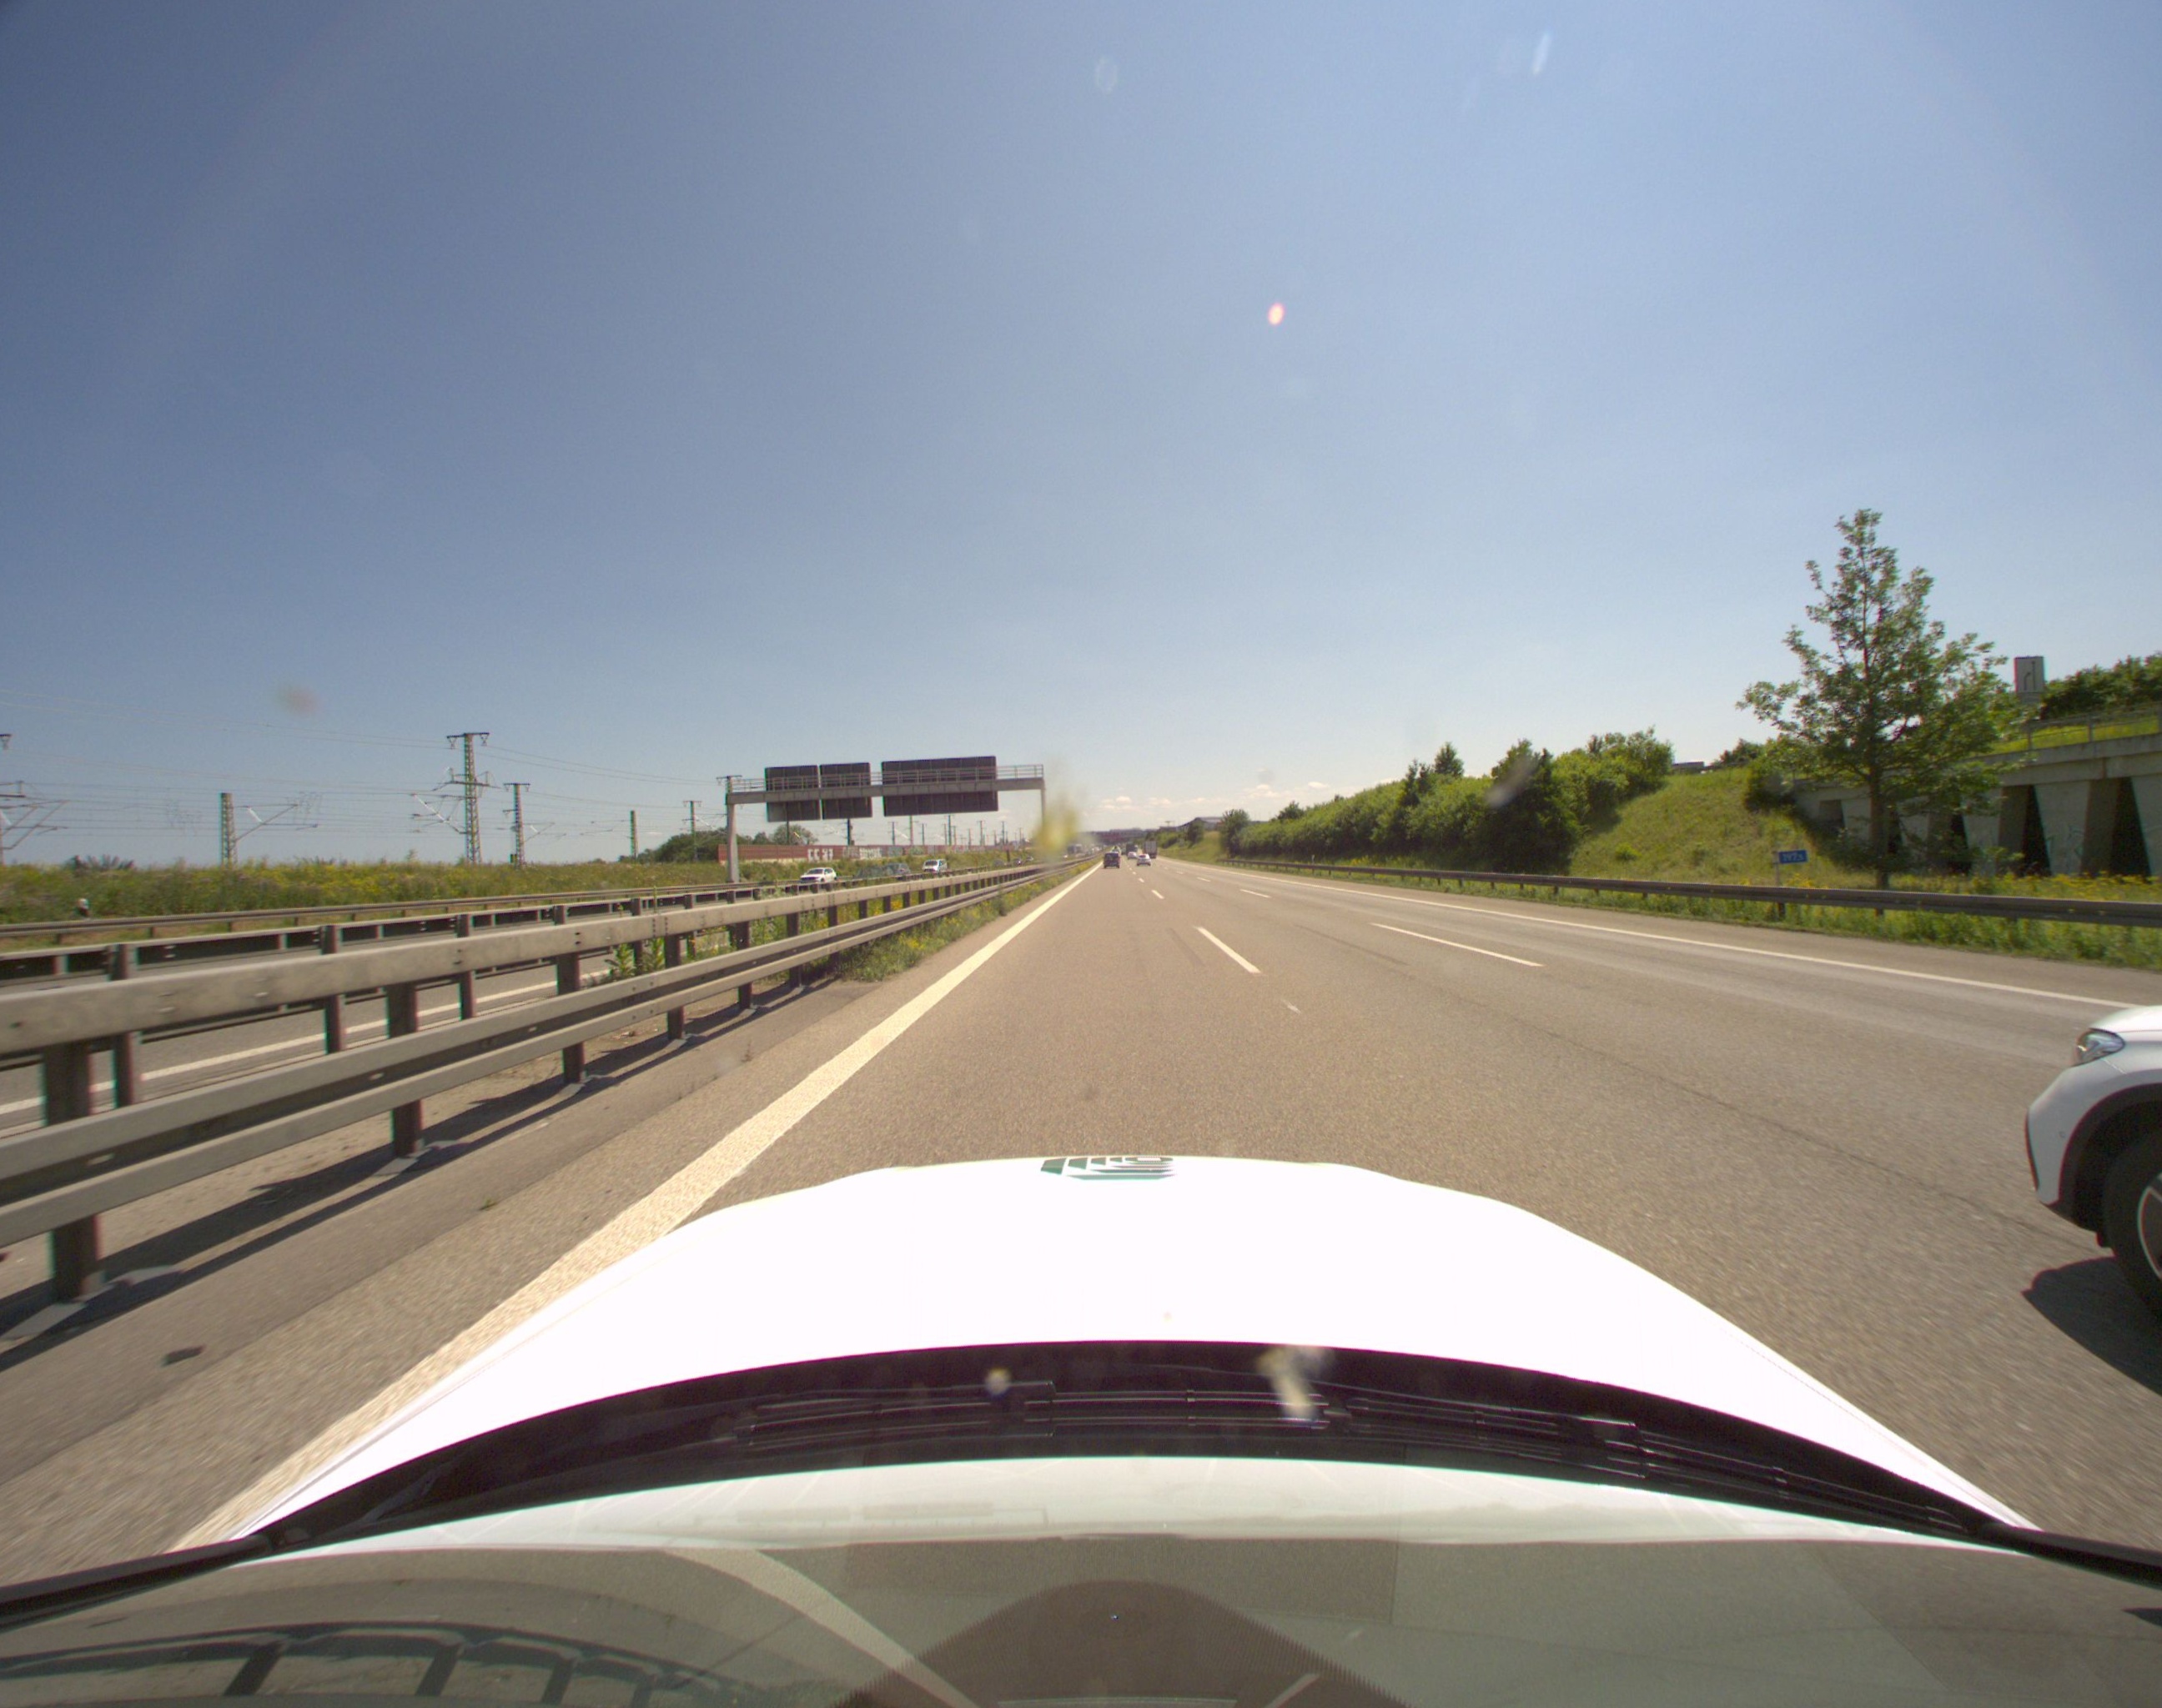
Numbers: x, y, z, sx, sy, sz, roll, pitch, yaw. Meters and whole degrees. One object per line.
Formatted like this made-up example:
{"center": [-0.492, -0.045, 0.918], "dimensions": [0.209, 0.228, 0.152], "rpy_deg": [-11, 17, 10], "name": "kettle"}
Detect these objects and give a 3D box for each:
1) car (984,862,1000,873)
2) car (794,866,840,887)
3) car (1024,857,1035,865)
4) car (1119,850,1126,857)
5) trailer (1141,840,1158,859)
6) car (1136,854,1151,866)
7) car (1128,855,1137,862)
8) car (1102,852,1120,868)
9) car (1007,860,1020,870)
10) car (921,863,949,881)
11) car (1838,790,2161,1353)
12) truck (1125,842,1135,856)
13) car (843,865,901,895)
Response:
{"center": [-15.111, 2.341, 138.871], "dimensions": [1.985, 1.726, 4.517], "rpy_deg": [-1, 0, 3], "name": "car"}
{"center": [-20.762, 1.746, 64.190], "dimensions": [1.985, 1.576, 4.480], "rpy_deg": [-1, -1, 3], "name": "car"}
{"center": [-11.919, 1.690, 188.431], "dimensions": [1.985, 1.726, 4.516], "rpy_deg": [-1, 0, 2], "name": "car"}
{"center": [12.431, -0.271, 245.389], "dimensions": [1.986, 2.014, 4.002], "rpy_deg": [-1, 0, 2], "name": "car"}
{"center": [15.168, -1.033, 180.723], "dimensions": [3.165, 4.059, 9.446], "rpy_deg": [-2, 0, 3], "name": "trailer"}
{"center": [7.983, 0.784, 103.529], "dimensions": [1.872, 1.526, 4.006], "rpy_deg": [-1, 0, 5], "name": "car"}
{"center": [10.722, 0.911, 169.085], "dimensions": [1.873, 1.526, 4.004], "rpy_deg": [-1, 0, 3], "name": "car"}
{"center": [3.416, 0.667, 91.159], "dimensions": [1.873, 1.775, 4.003], "rpy_deg": [-2, 0, 3], "name": "car"}
{"center": [-13.434, 2.182, 162.950], "dimensions": [1.985, 2.014, 4.312], "rpy_deg": [0, -1, 3], "name": "car"}
{"center": [-16.480, 2.053, 92.289], "dimensions": [1.985, 1.886, 4.982], "rpy_deg": [-1, 0, 4], "name": "car"}
{"center": [4.064, 0.616, 1.091], "dimensions": [1.897, 1.656, 4.639], "rpy_deg": [-1, -1, 2], "name": "car"}
{"center": [12.830, -1.294, 213.922], "dimensions": [2.346, 3.416, 6.061], "rpy_deg": [-2, 0, 3], "name": "truck"}
{"center": [-11.461, 1.408, 44.965], "dimensions": [1.922, 1.483, 4.478], "rpy_deg": [-1, -1, 1], "name": "car"}
